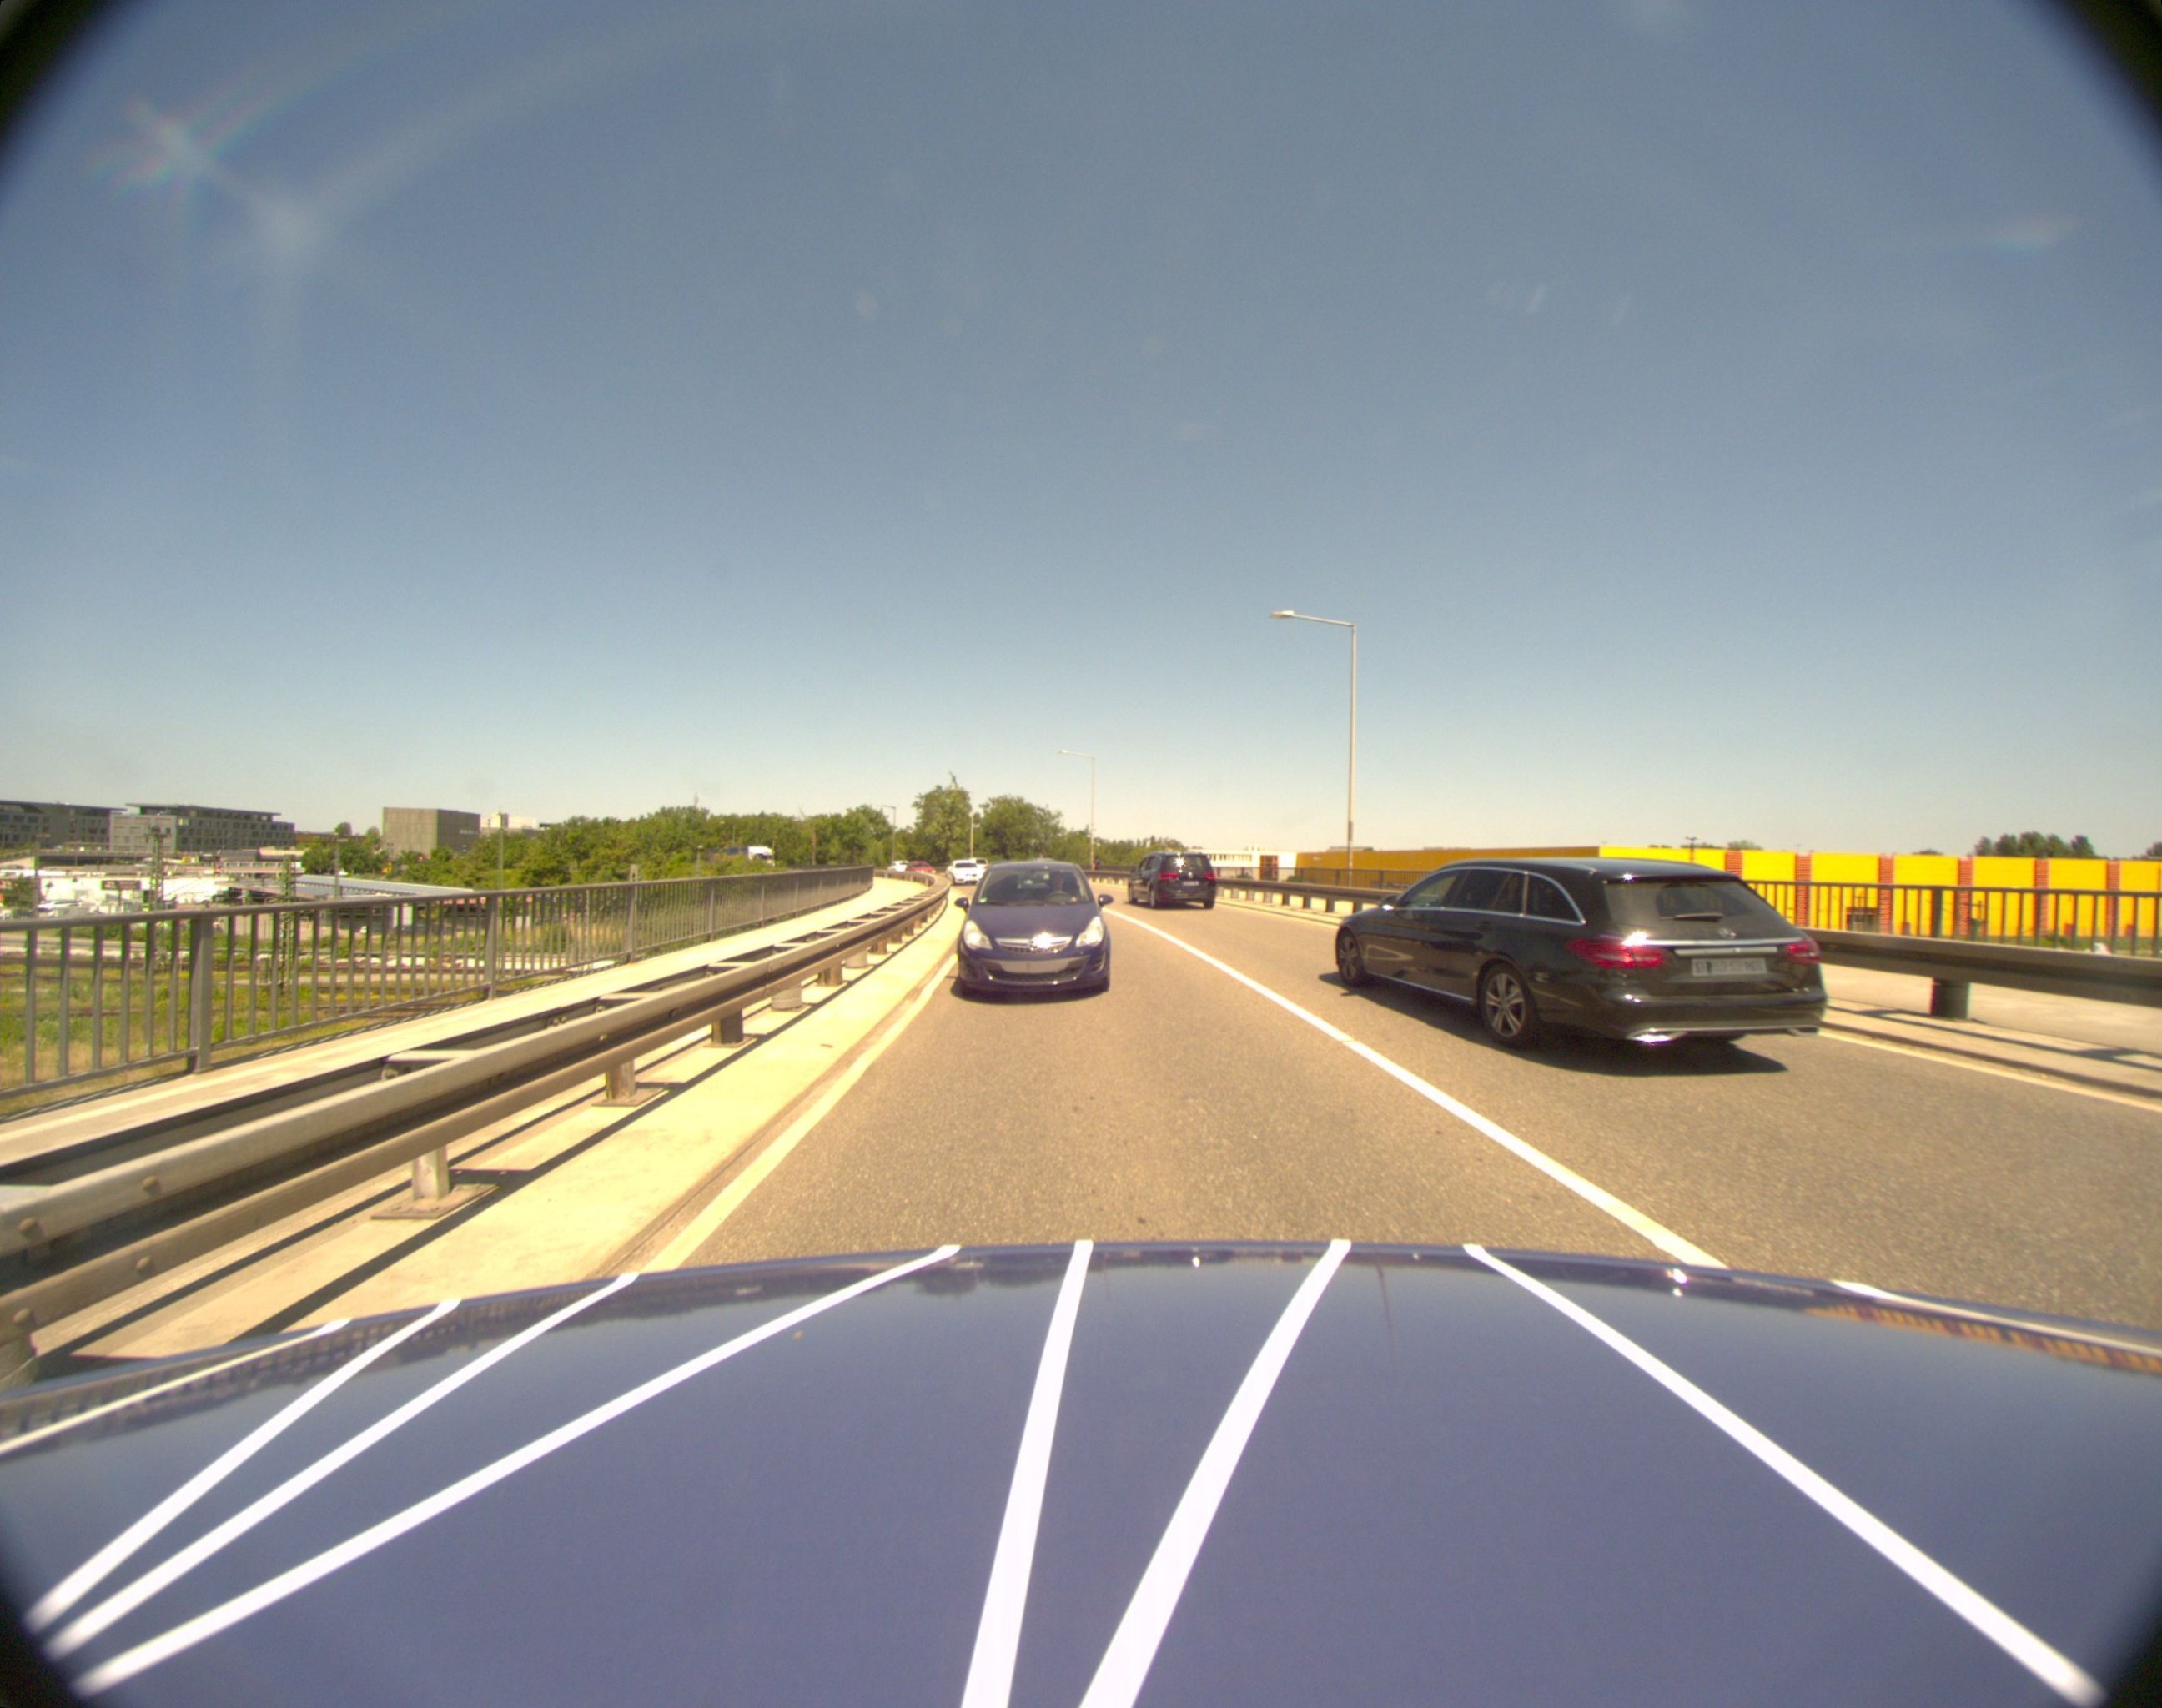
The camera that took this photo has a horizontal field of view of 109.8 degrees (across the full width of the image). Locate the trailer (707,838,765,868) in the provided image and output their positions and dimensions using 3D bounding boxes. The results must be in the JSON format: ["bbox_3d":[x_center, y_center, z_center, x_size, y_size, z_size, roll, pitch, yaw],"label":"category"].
[{"bbox_3d":[-51.210,-0.060,112.414,12.677,4.210,2.707,-1,1,41],"label":"trailer"}]

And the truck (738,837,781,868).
[{"bbox_3d":[-45.457,-0.183,107.363,6.820,4.204,2.702,-1,2,41],"label":"truck"}]

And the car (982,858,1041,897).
[{"bbox_3d":[-2.907,0.893,30.979,1.796,1.446,4.518,-1,0,-13],"label":"car"}]

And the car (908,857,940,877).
[{"bbox_3d":[-12.485,1.005,60.236,1.797,1.447,4.515,-2,1,-21],"label":"car"}]

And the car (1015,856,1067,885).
[{"bbox_3d":[-2.290,0.880,42.773,1.782,1.499,4.186,0,0,-20],"label":"car"}]

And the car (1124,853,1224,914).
[{"bbox_3d":[2.631,0.788,22.524,1.778,1.616,4.250,-1,0,-10],"label":"car"}]

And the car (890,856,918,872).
[{"bbox_3d":[-18.241,1.041,78.036,1.702,1.598,3.990,0,0,-30],"label":"car"}]

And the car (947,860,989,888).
[{"bbox_3d":[-6.667,1.127,44.404,1.797,1.446,4.516,-2,0,-17],"label":"car"}]

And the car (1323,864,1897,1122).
[{"bbox_3d":[3.927,0.858,6.774,1.777,1.430,4.389,-1,0,-5],"label":"car"}]

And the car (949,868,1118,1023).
[{"bbox_3d":[-0.594,0.946,9.602,1.645,1.431,3.998,-2,0,-4],"label":"car"}]

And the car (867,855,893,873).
[{"bbox_3d":[-24.251,1.204,91.508,2.003,2.002,3.991,-2,0,-29],"label":"car"}]

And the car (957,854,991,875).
[{"bbox_3d":[-8.520,0.795,60.255,1.701,1.598,3.992,-1,0,-23],"label":"car"}]
